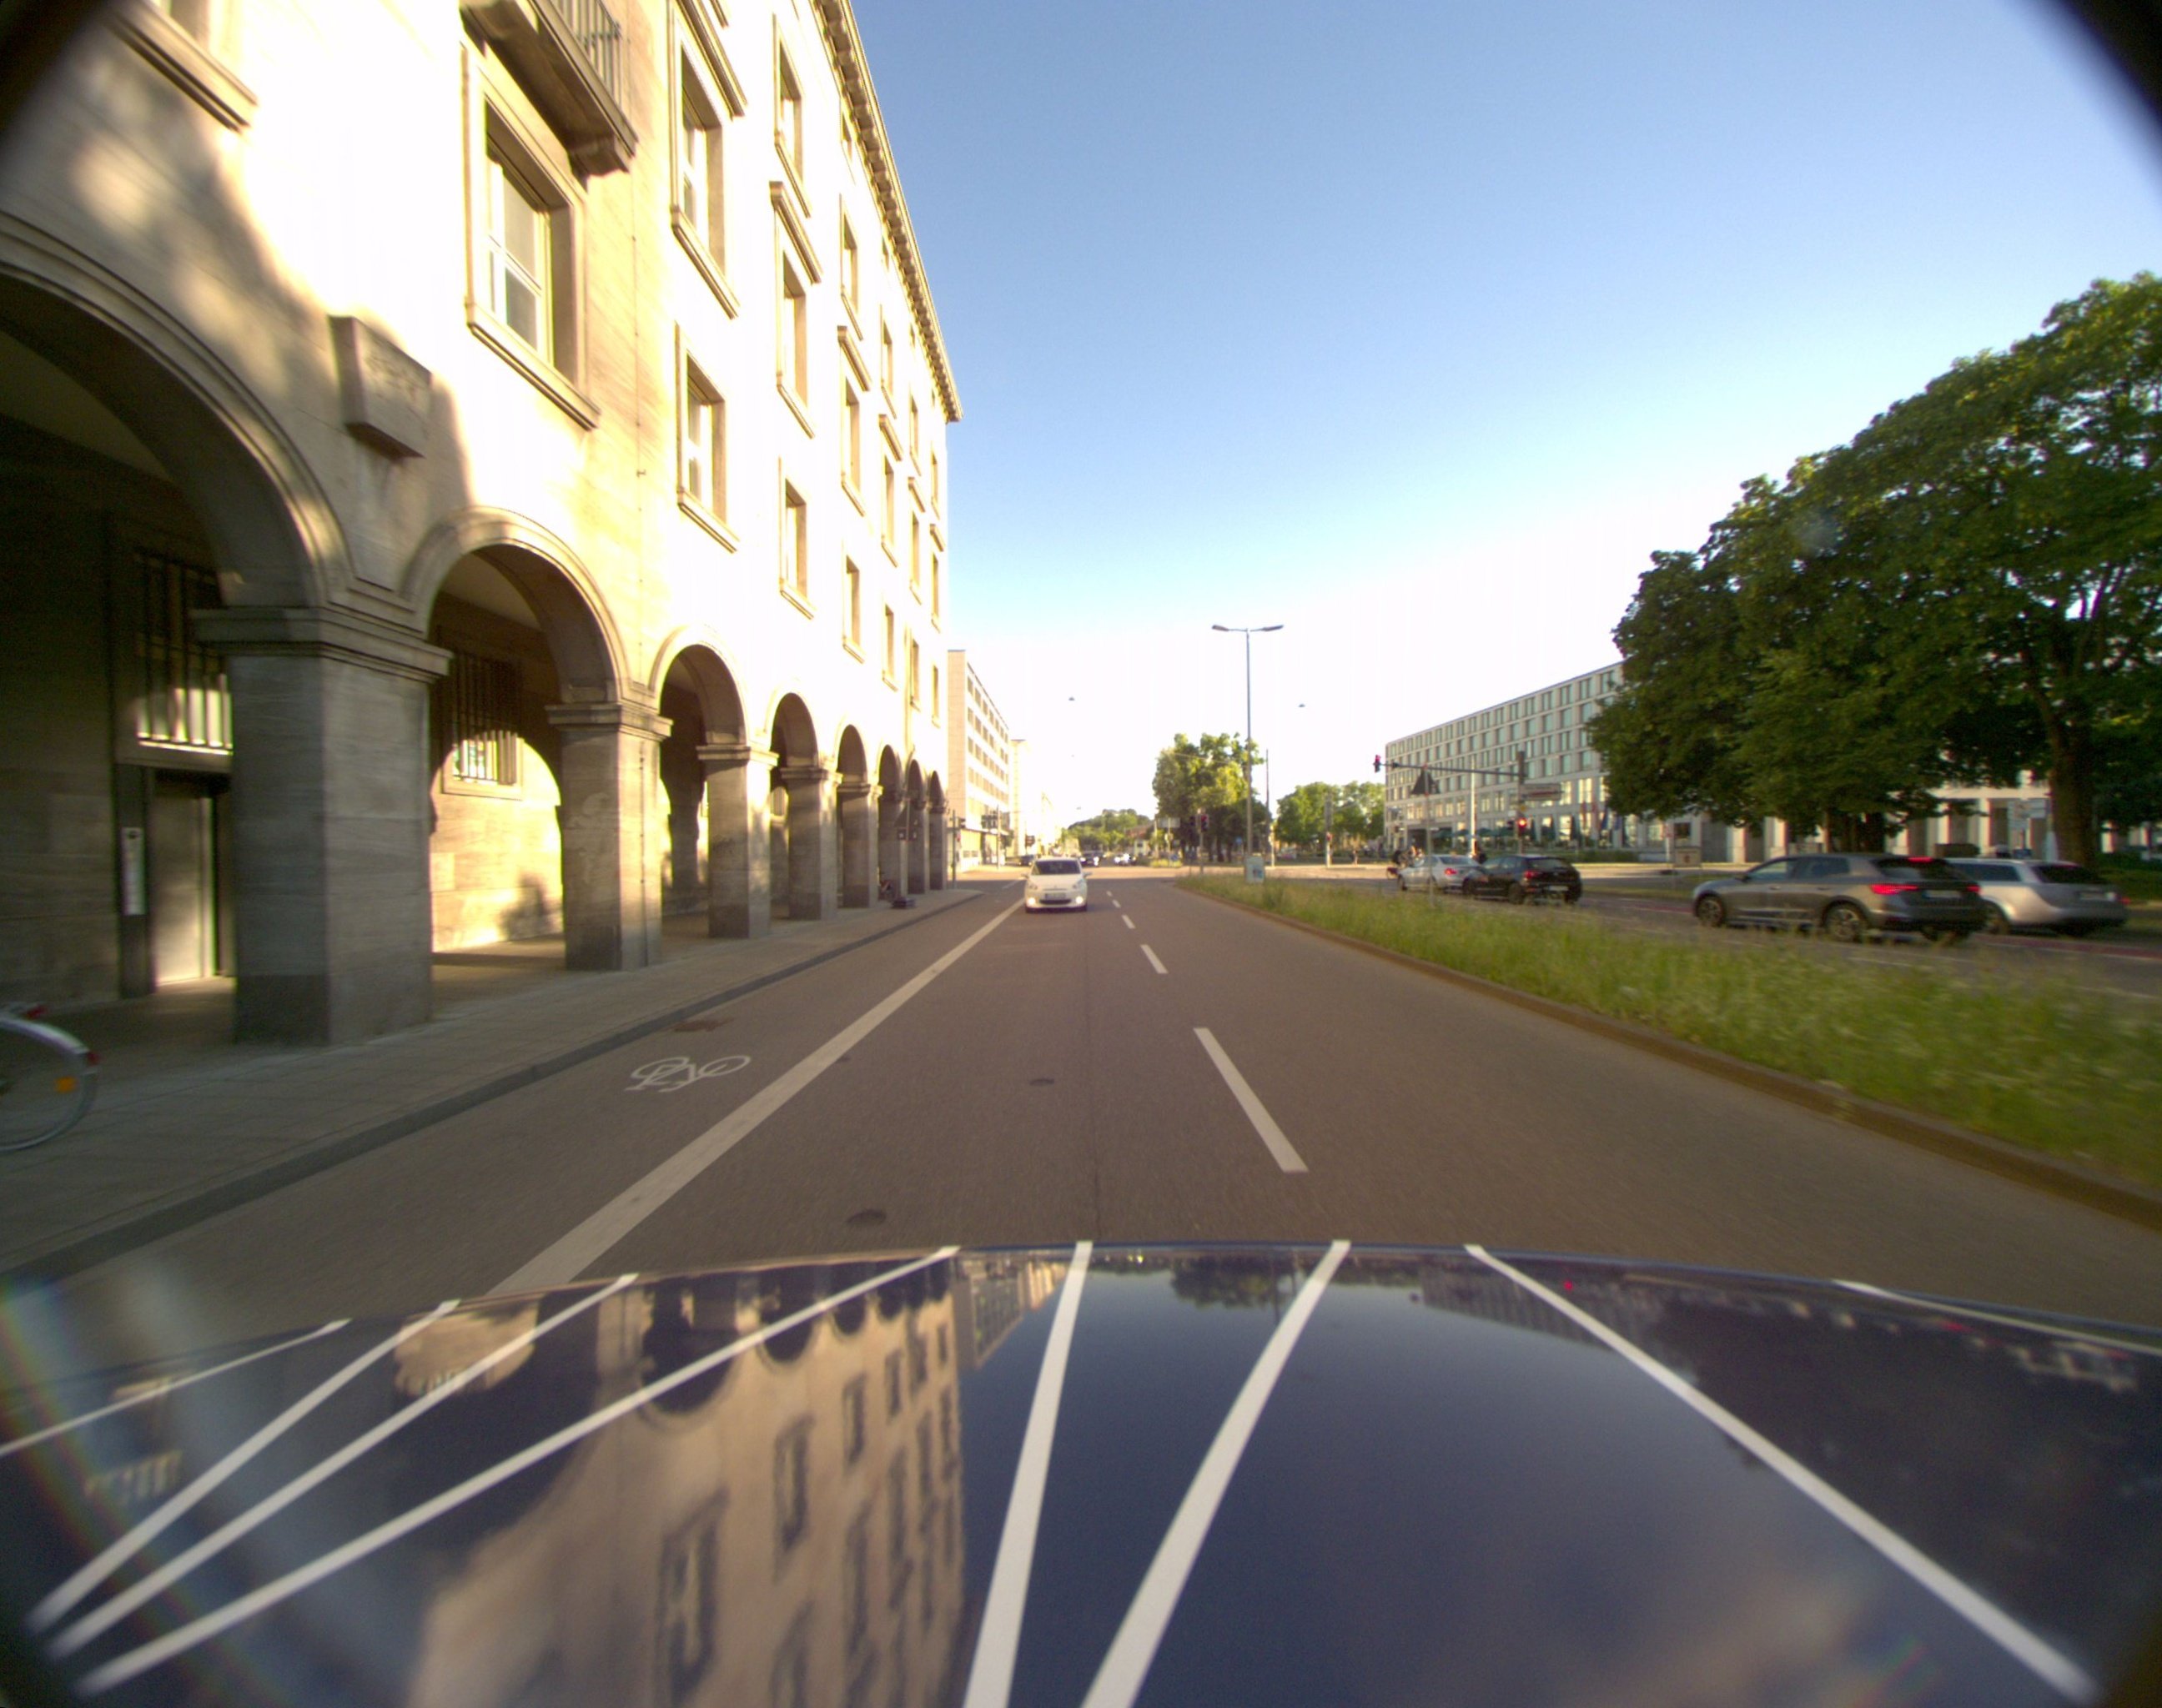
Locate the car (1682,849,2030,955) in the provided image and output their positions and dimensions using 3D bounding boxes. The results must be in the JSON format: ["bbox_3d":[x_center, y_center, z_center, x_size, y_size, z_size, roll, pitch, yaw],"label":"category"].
[{"bbox_3d":[13.150,0.702,13.357,1.998,1.555,4.060,0,1,1],"label":"car"}]

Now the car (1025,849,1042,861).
[{"bbox_3d":[-6.536,0.165,104.789,1.998,1.564,4.549,0,1,1],"label":"car"}]

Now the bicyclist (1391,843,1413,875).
[{"bbox_3d":[17.588,0.251,41.680,0.838,1.734,0.754,0,3,0],"label":"bicyclist"}]

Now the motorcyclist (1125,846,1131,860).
[{"bbox_3d":[4.932,-0.127,79.529,0.607,1.438,0.736,0,1,-2],"label":"motorcyclist"}]

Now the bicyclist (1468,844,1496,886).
[{"bbox_3d":[16.398,0.445,31.088,0.782,1.669,0.839,1,1,15],"label":"bicyclist"}]

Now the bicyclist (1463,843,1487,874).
[{"bbox_3d":[22.251,0.240,42.936,0.924,1.681,0.775,-3,3,0],"label":"bicyclist"}]

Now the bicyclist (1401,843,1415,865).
[{"bbox_3d":[24.167,-0.030,56.092,0.850,1.610,0.974,0,1,30],"label":"bicyclist"}]

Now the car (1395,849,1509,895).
[{"bbox_3d":[13.440,0.588,27.846,1.998,1.551,4.549,0,1,1],"label":"car"}]

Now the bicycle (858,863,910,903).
[{"bbox_3d":[-6.019,0.871,23.160,1.708,1.126,0.665,2,1,41],"label":"bicycle"}]

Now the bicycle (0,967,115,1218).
[{"bbox_3d":[-5.700,1.083,3.415,1.714,1.044,0.527,1,1,-14],"label":"bicycle"}]

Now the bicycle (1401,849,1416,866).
[{"bbox_3d":[24.193,0.256,56.132,0.844,1.223,2.018,0,1,30],"label":"bicycle"}]

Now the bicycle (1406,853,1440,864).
[{"bbox_3d":[27.478,0.360,61.038,2.334,0.846,0.843,0,1,0],"label":"bicycle"}]

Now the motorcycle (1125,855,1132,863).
[{"bbox_3d":[4.986,0.500,79.380,0.623,0.791,1.309,0,1,0],"label":"motorcycle"}]

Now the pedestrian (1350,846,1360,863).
[{"bbox_3d":[25.116,0.071,69.643,0.623,1.517,0.603,0,1,-4],"label":"pedestrian"}]

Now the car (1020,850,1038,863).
[{"bbox_3d":[-6.768,0.278,98.728,1.998,1.564,4.549,0,1,1],"label":"car"}]

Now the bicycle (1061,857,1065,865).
[{"bbox_3d":[-1.843,0.705,77.801,0.351,0.869,1.385,0,1,1],"label":"bicycle"}]

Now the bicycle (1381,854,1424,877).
[{"bbox_3d":[17.637,0.632,41.703,2.019,1.233,0.778,0,3,0],"label":"bicycle"}]

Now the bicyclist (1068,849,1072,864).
[{"bbox_3d":[-1.136,0.235,77.932,0.453,1.567,0.535,0,1,0],"label":"bicyclist"}]

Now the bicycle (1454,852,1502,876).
[{"bbox_3d":[22.438,0.565,42.942,2.310,1.233,0.778,-2,3,0],"label":"bicycle"}]

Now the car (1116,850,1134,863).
[{"bbox_3d":[5.462,0.241,94.605,1.998,1.564,4.549,0,1,1],"label":"car"}]

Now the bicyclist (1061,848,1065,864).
[{"bbox_3d":[-1.846,0.219,77.789,0.358,1.567,0.535,0,1,1],"label":"bicyclist"}]

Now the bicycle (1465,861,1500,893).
[{"bbox_3d":[16.424,0.917,31.157,0.776,1.232,2.251,0,1,15],"label":"bicycle"}]

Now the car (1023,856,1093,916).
[{"bbox_3d":[-0.552,0.825,21.224,1.678,1.455,3.765,-2,1,2],"label":"car"}]

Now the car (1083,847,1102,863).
[{"bbox_3d":[1.198,0.114,79.259,1.998,1.564,4.549,-1,0,1],"label":"car"}]

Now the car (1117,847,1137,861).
[{"bbox_3d":[5.139,-0.014,85.377,1.998,1.564,4.549,0,1,1],"label":"car"}]

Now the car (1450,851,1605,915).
[{"bbox_3d":[13.047,0.775,22.605,1.998,1.666,4.549,0,1,1],"label":"car"}]

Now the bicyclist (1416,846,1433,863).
[{"bbox_3d":[27.568,0.040,61.020,0.972,1.354,0.826,0,1,0],"label":"bicyclist"}]

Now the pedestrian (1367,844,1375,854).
[{"bbox_3d":[41.529,-0.733,108.770,0.784,1.517,0.762,0,1,1],"label":"pedestrian"}]

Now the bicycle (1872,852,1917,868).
[{"bbox_3d":[47.318,0.324,44.207,0.770,0.884,1.604,0,1,-8],"label":"bicycle"}]

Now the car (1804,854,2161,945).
[{"bbox_3d":[17.883,0.796,15.499,1.938,1.517,4.587,1,1,1],"label":"car"}]
